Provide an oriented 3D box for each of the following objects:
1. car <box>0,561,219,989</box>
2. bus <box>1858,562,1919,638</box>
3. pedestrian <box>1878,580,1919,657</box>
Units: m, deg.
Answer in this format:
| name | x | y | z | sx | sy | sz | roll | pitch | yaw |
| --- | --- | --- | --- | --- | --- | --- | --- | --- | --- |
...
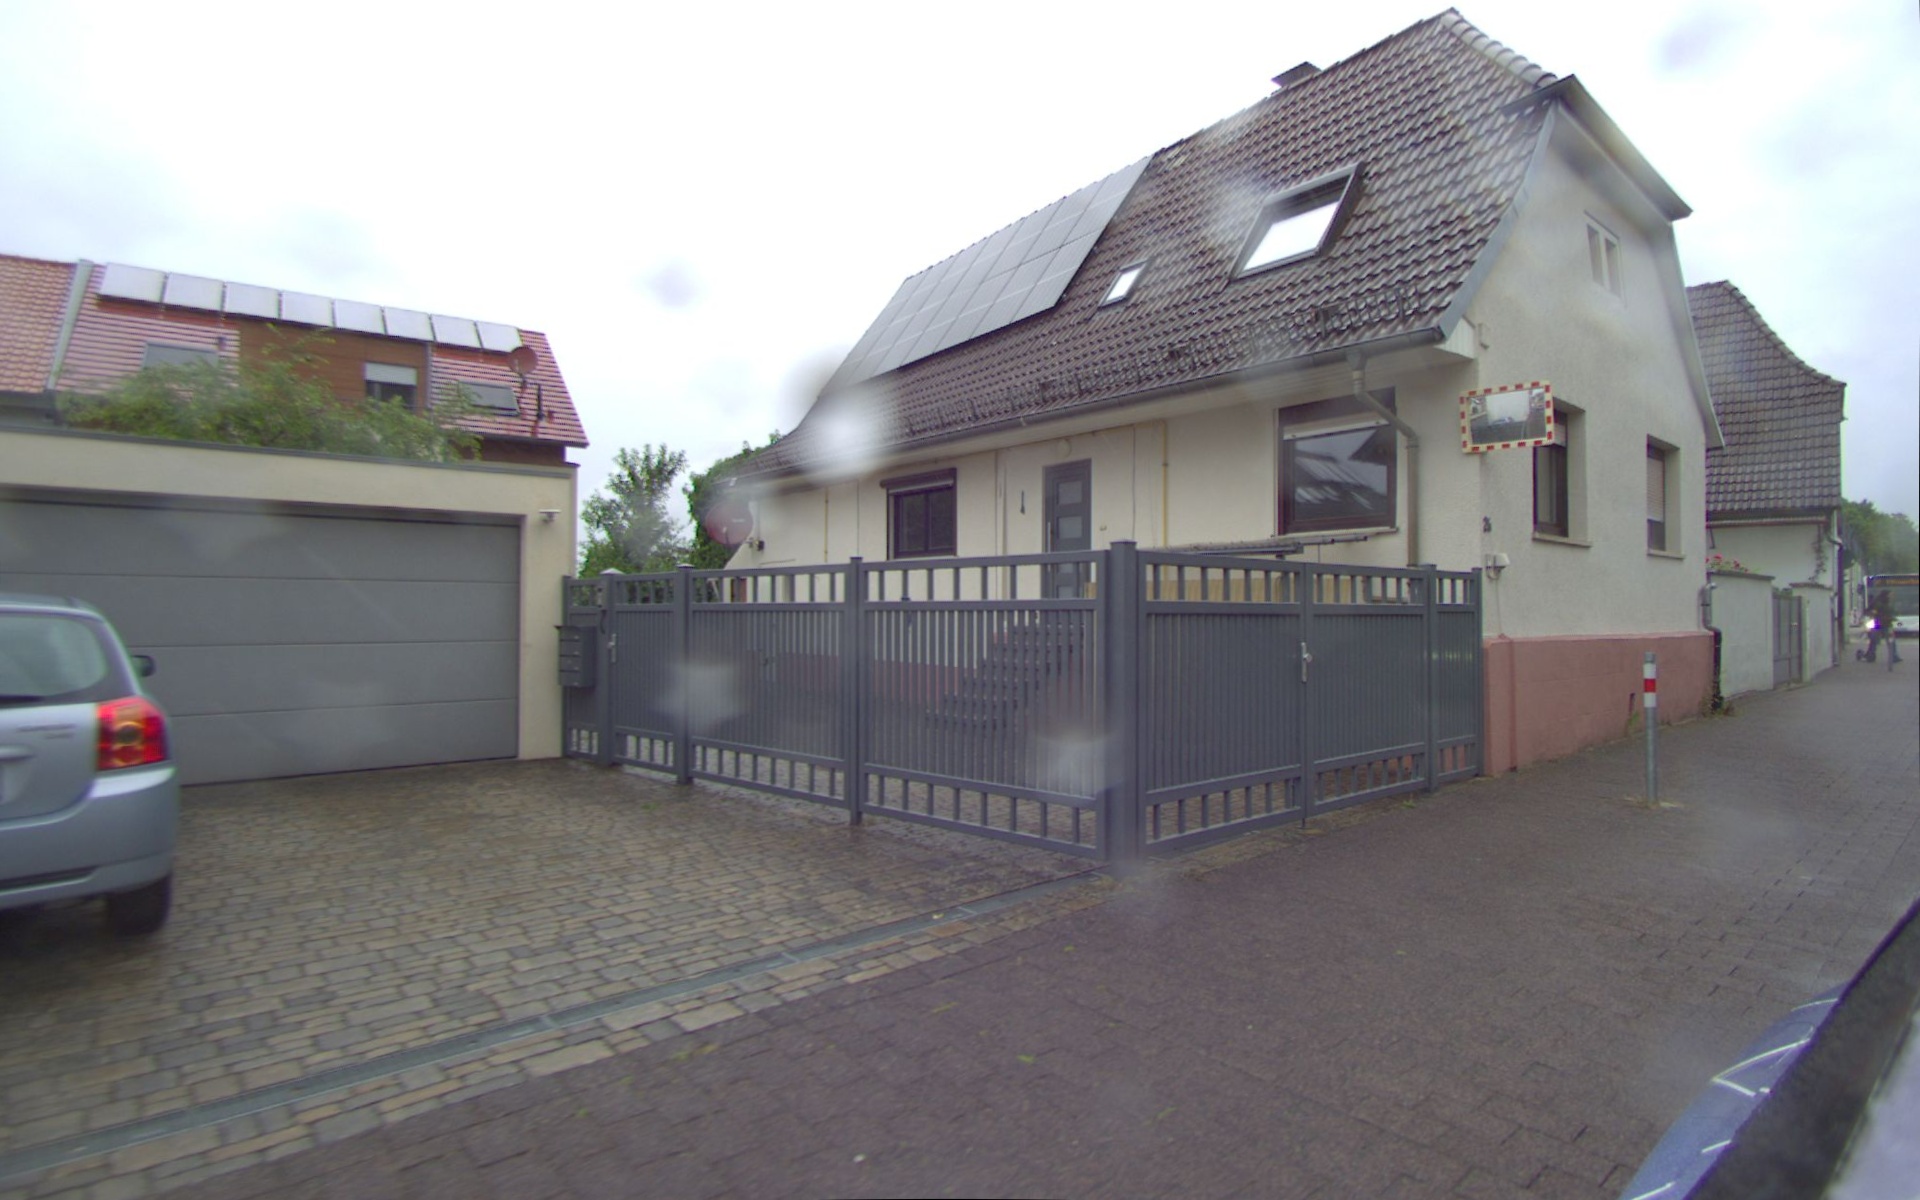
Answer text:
| name | x | y | z | sx | sy | sz | roll | pitch | yaw |
| --- | --- | --- | --- | --- | --- | --- | --- | --- | --- |
| car | -4.972 | 0.666 | 4.785 | 1.822 | 1.517 | 3.897 | -1 | -1 | -45 |
| bus | 48.150 | -0.060 | 51.181 | 3.432 | 3.455 | 13.649 | -1 | -1 | 44 |
| pedestrian | 21.750 | 0.419 | 23.441 | 0.694 | 1.754 | 0.808 | -1 | -1 | 43 |
